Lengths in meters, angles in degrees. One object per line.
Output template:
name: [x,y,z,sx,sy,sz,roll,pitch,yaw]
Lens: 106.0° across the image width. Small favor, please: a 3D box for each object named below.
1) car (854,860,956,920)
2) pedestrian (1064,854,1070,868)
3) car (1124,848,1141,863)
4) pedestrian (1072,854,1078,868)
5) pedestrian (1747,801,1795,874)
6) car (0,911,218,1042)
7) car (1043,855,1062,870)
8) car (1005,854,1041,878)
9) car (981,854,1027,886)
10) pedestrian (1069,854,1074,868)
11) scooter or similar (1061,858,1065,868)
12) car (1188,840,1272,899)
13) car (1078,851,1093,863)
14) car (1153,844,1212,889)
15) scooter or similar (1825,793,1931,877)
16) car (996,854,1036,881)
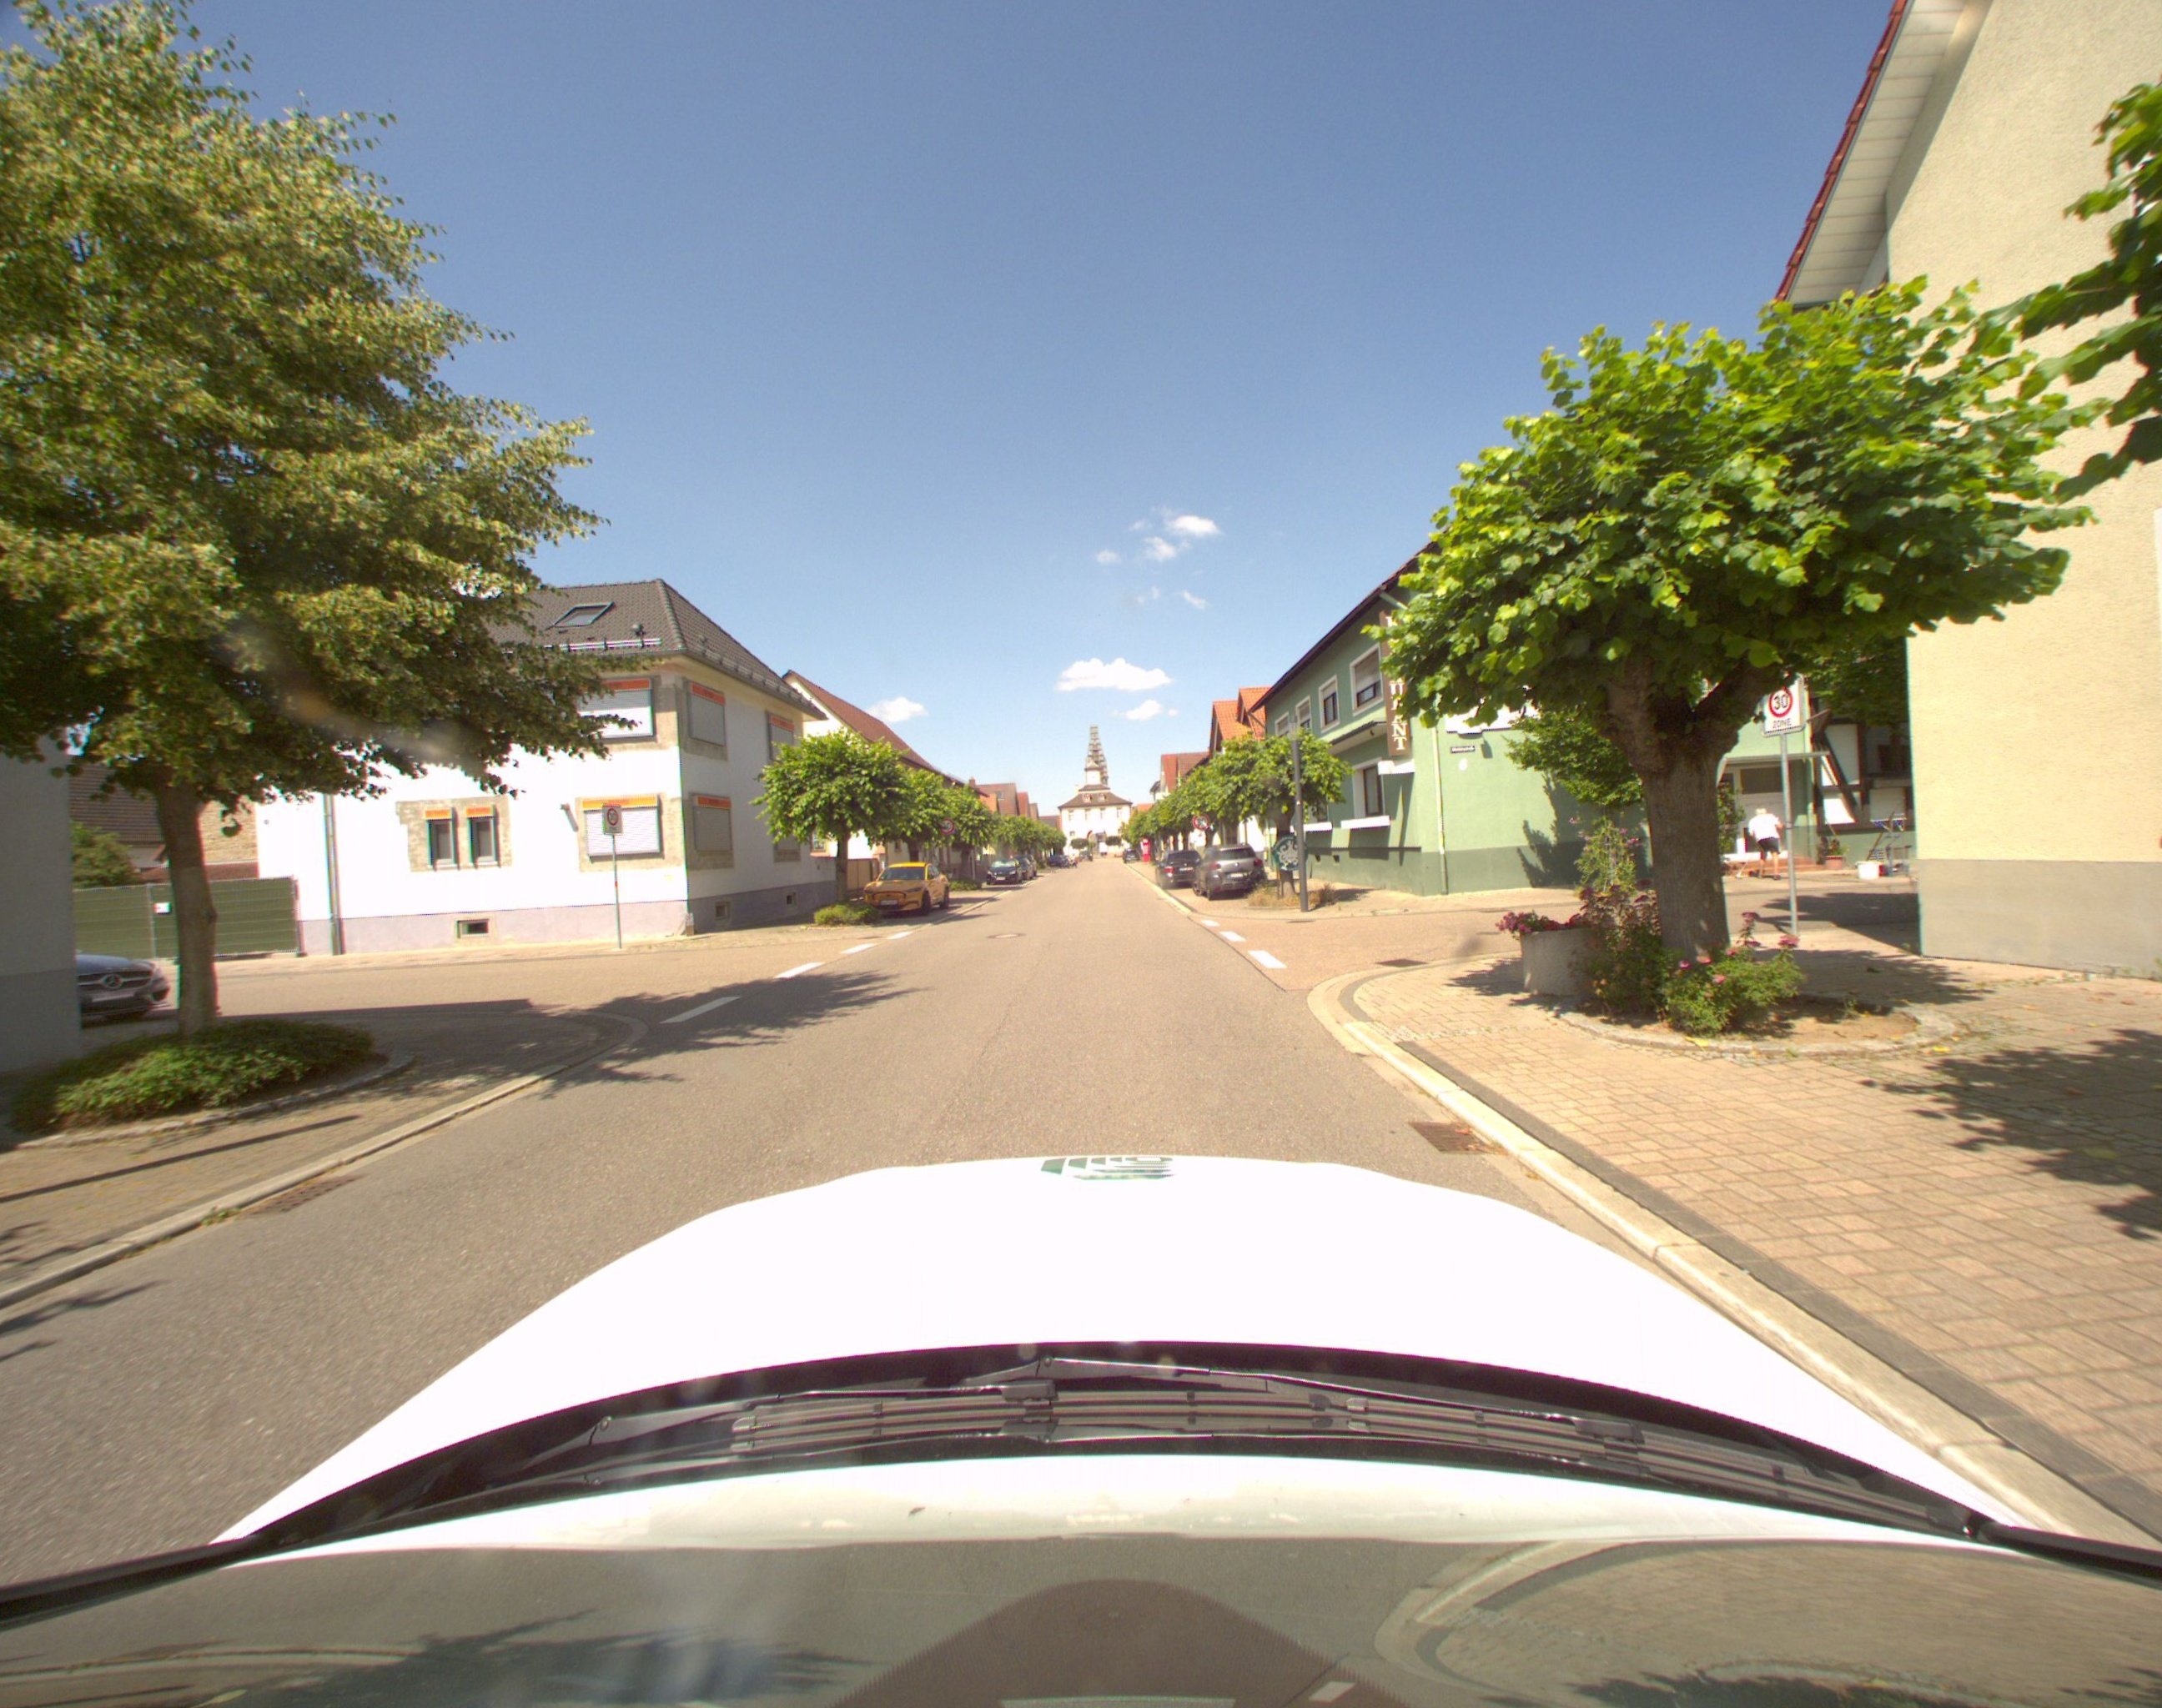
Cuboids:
car: [-5.460,1.062,25.959,1.985,1.611,4.692,-2,0,3]
pedestrian: [-1.379,0.720,81.472,0.354,1.403,0.322,-4,0,39]
car: [6.035,0.163,96.050,1.830,1.555,4.316,-5,0,2]
pedestrian: [-0.617,0.692,80.797,0.354,1.403,0.322,-4,0,39]
pedestrian: [15.198,-0.348,17.949,0.543,1.570,0.545,-1,-1,-2]
car: [-14.689,1.660,10.897,4.317,1.449,2.002,-4,-2,4]
car: [-3.113,0.947,90.335,1.751,1.555,4.022,-3,0,2]
car: [-4.251,0.860,60.154,1.985,1.611,4.692,-3,0,3]
car: [-4.432,0.895,47.390,1.985,1.611,4.692,-2,1,3]
pedestrian: [-0.937,0.711,81.735,0.354,1.403,0.322,-4,0,39]
scooter or similar: [-1.783,0.926,81.348,0.326,1.003,0.243,-4,0,39]
car: [4.570,0.453,25.492,1.831,1.607,4.000,-3,0,0]
car: [0.598,0.429,120.179,1.989,1.611,4.501,-2,-1,-3]
car: [4.026,0.482,33.056,1.831,1.555,4.315,-5,0,1]
scooter or similar: [16.903,-0.423,17.316,1.088,1.646,1.194,-4,3,5]
car: [-4.166,0.885,53.120,1.985,1.611,4.692,-2,-1,3]
